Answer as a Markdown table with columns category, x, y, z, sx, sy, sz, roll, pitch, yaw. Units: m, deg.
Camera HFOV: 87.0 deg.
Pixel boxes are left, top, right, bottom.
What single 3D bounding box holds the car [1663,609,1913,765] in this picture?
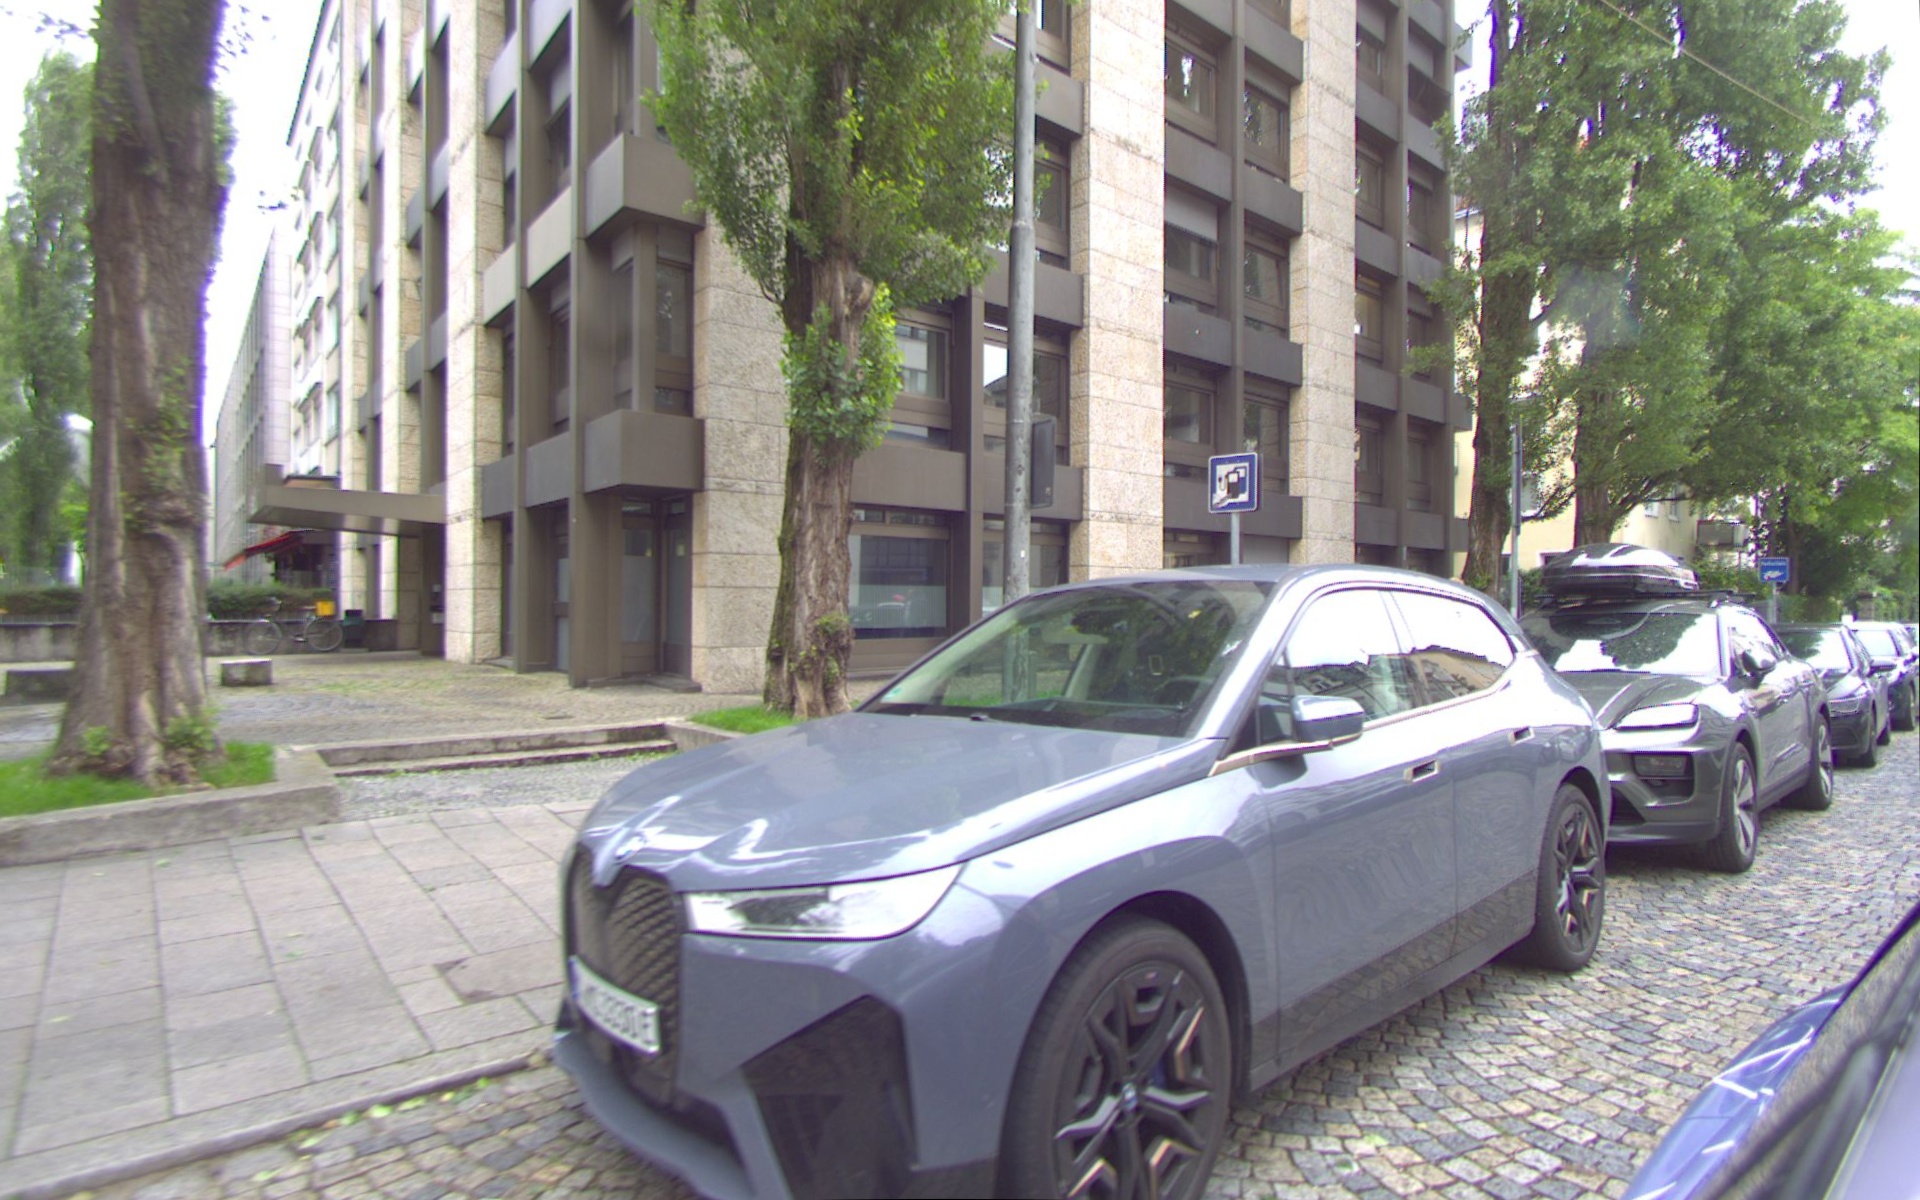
| category | x | y | z | sx | sy | sz | roll | pitch | yaw |
| --- | --- | --- | --- | --- | --- | --- | --- | --- | --- |
| car | 9.463 | 0.828 | 11.441 | 4.135 | 1.408 | 1.721 | 0 | 0 | -44 |

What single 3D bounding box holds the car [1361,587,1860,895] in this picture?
| category | x | y | z | sx | sy | sz | roll | pitch | yaw |
| --- | --- | --- | --- | --- | --- | --- | --- | --- | --- |
| car | 4.943 | 0.746 | 7.444 | 4.266 | 1.603 | 1.996 | 0 | -1 | -41 |

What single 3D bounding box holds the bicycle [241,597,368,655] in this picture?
| category | x | y | z | sx | sy | sz | roll | pitch | yaw |
| --- | --- | --- | --- | --- | --- | --- | --- | --- | --- |
| bicycle | -13.864 | 0.522 | 21.454 | 2.205 | 1.170 | 0.647 | 0 | 0 | -40 |

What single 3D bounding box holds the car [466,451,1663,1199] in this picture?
| category | x | y | z | sx | sy | sz | roll | pitch | yaw |
| --- | --- | --- | --- | --- | --- | --- | --- | --- | --- |
| car | 0.846 | 0.635 | 3.899 | 4.592 | 1.722 | 2.016 | 0 | -1 | -41 |

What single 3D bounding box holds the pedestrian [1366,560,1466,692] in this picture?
| category | x | y | z | sx | sy | sz | roll | pitch | yaw |
| --- | --- | --- | --- | --- | --- | --- | --- | --- | --- |
| pedestrian | 6.266 | 0.342 | 13.934 | 0.893 | 1.736 | 0.871 | 0 | 0 | -20 |

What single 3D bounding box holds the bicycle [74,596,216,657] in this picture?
| category | x | y | z | sx | sy | sz | roll | pitch | yaw |
| --- | --- | --- | --- | --- | --- | --- | --- | --- | --- |
| bicycle | -16.529 | 0.519 | 20.589 | 2.205 | 1.170 | 0.647 | 0 | 0 | -40 |

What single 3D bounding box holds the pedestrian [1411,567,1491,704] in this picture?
| category | x | y | z | sx | sy | sz | roll | pitch | yaw |
| --- | --- | --- | --- | --- | --- | --- | --- | --- | --- |
| pedestrian | 5.812 | 0.398 | 11.978 | 0.697 | 1.557 | 0.644 | 1 | 0 | -43 |

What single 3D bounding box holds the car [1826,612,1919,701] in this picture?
| category | x | y | z | sx | sy | sz | roll | pitch | yaw |
| --- | --- | --- | --- | --- | --- | --- | --- | --- | --- |
| car | 16.804 | 0.933 | 17.754 | 3.808 | 1.405 | 1.995 | 0 | -1 | -43 |

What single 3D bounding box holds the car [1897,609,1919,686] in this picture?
| category | x | y | z | sx | sy | sz | roll | pitch | yaw |
| --- | --- | --- | --- | --- | --- | --- | --- | --- | --- |
| car | 20.936 | 0.955 | 21.015 | 3.808 | 1.518 | 1.864 | 0 | -1 | -43 |

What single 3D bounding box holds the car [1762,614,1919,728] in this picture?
| category | x | y | z | sx | sy | sz | roll | pitch | yaw |
| --- | --- | --- | --- | --- | --- | --- | --- | --- | --- |
| car | 13.014 | 0.936 | 14.582 | 3.499 | 1.449 | 1.603 | 0 | -2 | -41 |
